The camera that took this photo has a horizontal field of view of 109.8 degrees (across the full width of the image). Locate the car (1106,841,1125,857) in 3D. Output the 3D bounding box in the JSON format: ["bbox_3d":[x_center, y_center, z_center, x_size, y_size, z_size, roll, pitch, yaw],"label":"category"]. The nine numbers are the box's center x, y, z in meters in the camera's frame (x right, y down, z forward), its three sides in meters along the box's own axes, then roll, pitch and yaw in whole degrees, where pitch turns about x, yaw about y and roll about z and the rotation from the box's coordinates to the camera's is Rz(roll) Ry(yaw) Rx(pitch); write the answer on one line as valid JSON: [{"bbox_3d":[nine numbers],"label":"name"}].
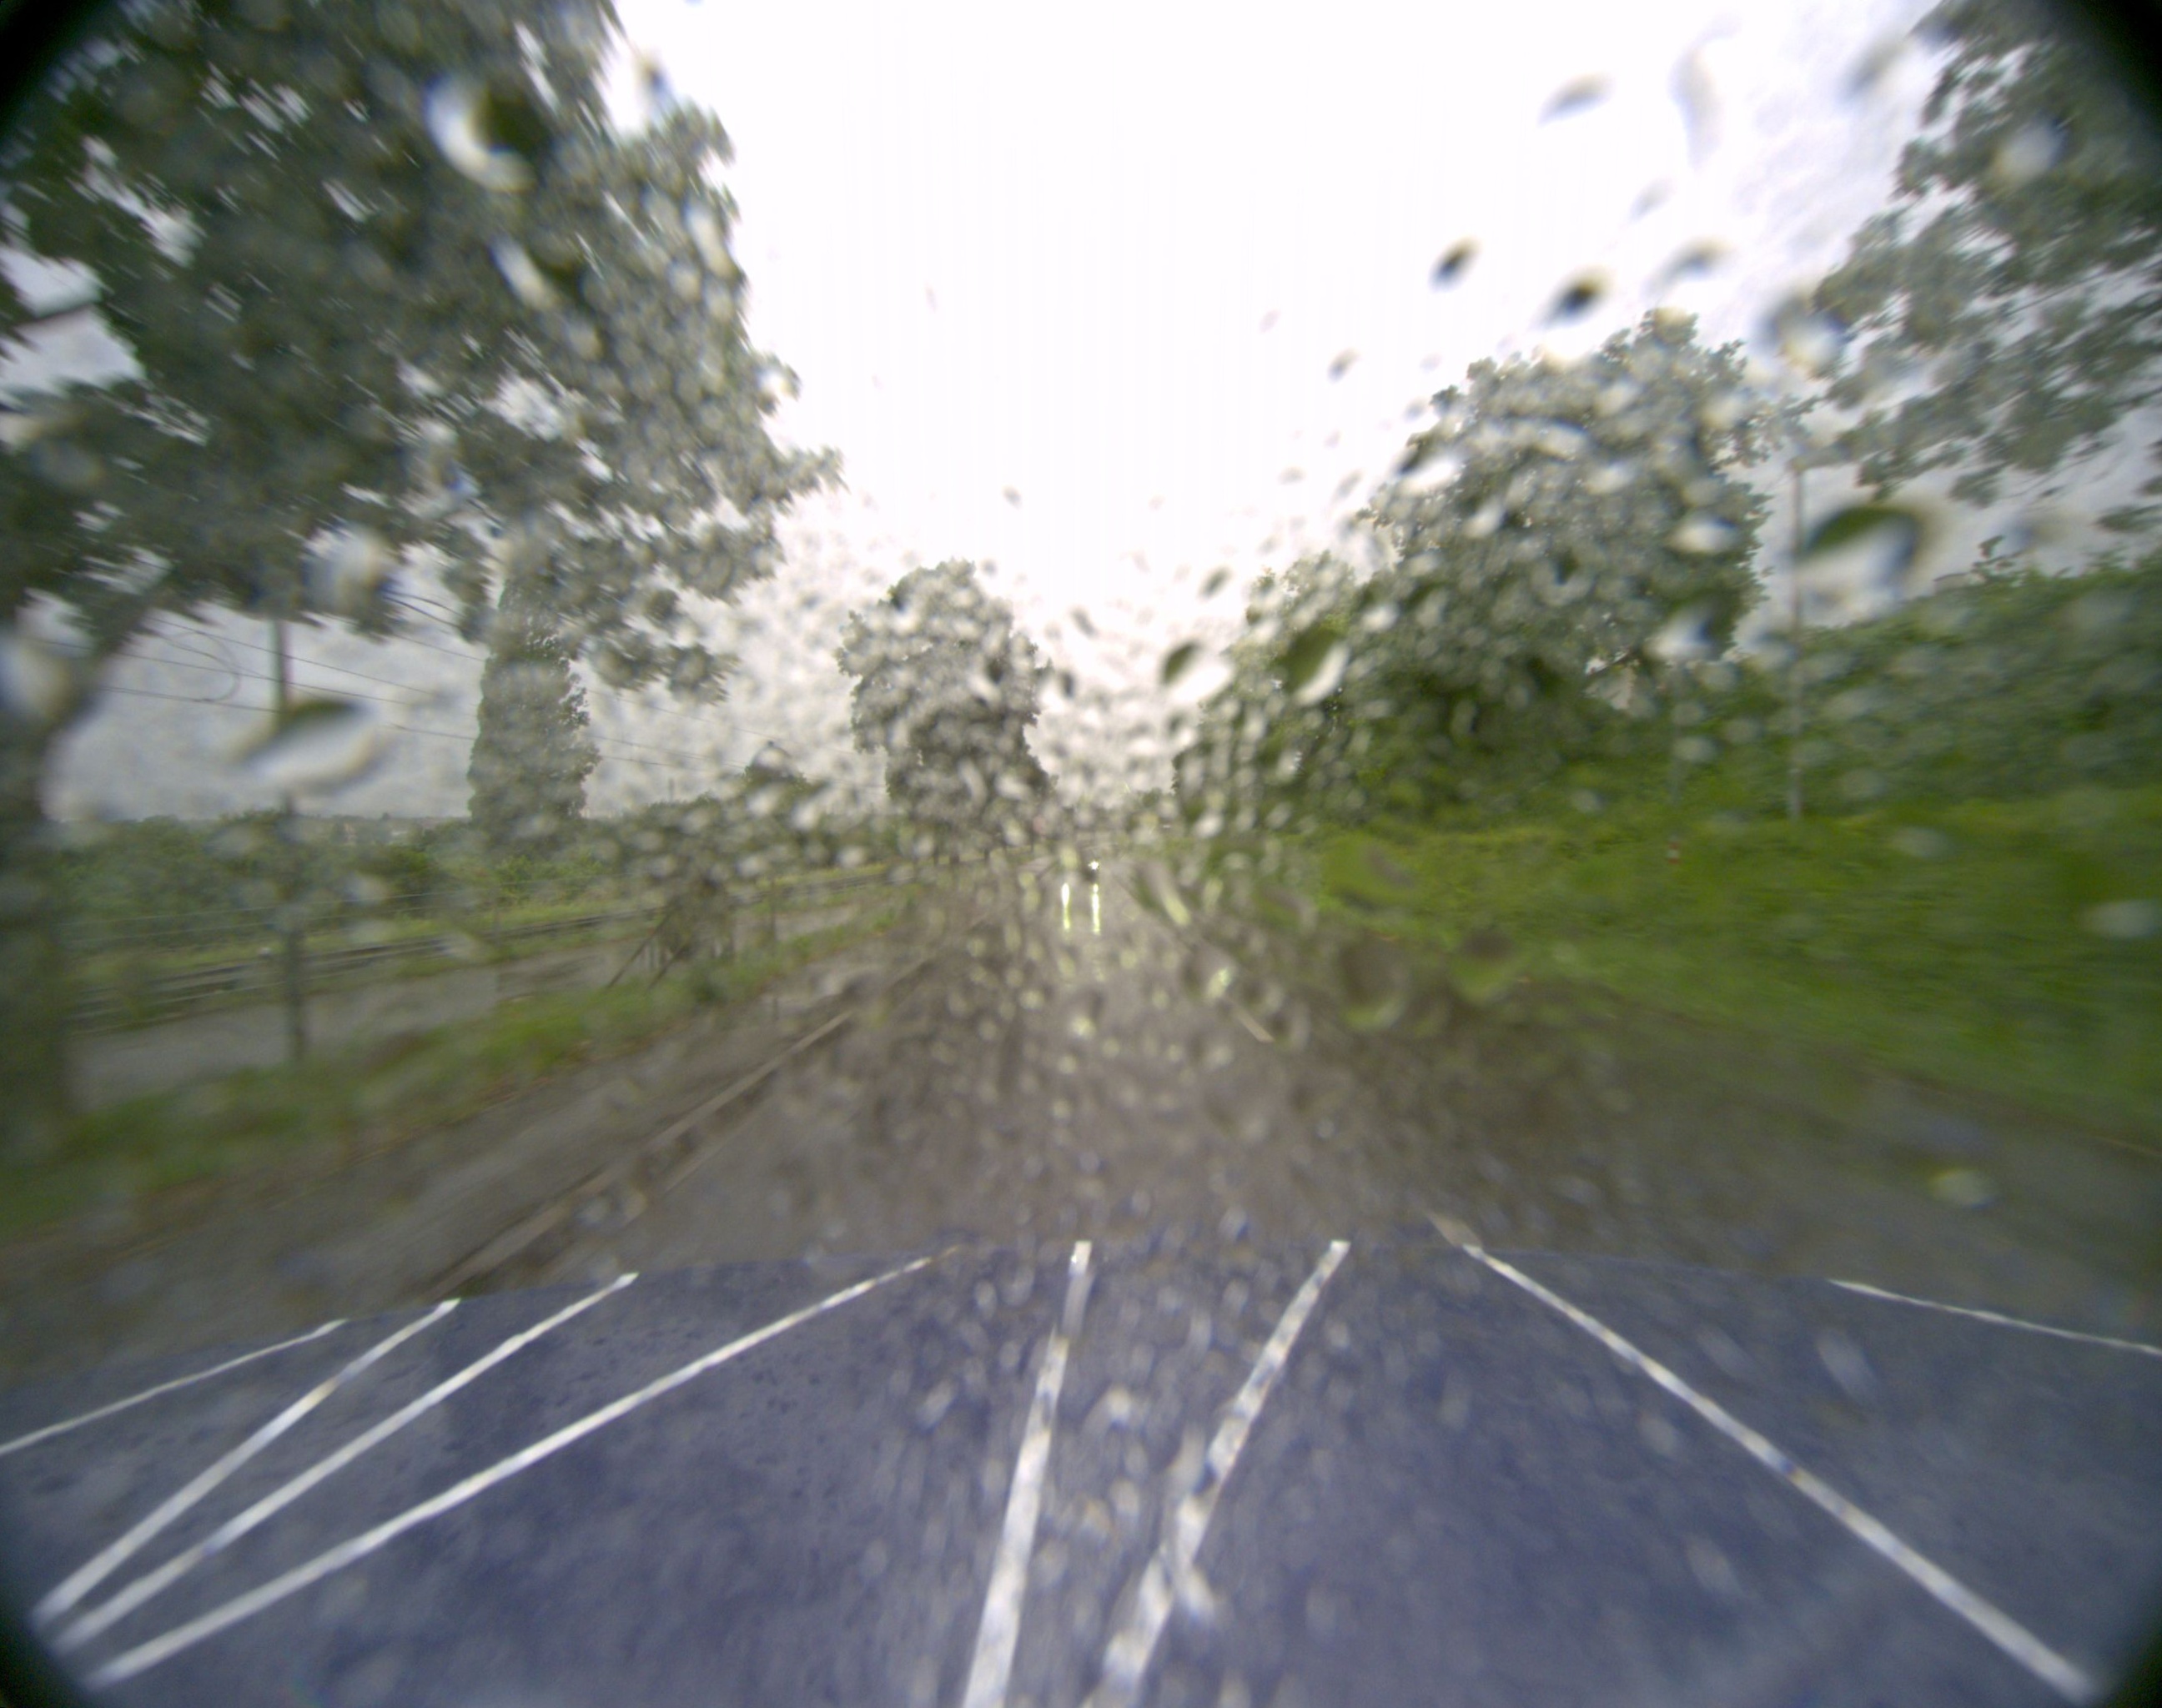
[{"bbox_3d":[3.546,-0.531,79.146,1.765,1.611,3.790,0,1,0],"label":"car"}]

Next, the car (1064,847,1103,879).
[{"bbox_3d":[0.163,0.406,37.885,1.764,1.477,3.791,0,1,3],"label":"car"}]
